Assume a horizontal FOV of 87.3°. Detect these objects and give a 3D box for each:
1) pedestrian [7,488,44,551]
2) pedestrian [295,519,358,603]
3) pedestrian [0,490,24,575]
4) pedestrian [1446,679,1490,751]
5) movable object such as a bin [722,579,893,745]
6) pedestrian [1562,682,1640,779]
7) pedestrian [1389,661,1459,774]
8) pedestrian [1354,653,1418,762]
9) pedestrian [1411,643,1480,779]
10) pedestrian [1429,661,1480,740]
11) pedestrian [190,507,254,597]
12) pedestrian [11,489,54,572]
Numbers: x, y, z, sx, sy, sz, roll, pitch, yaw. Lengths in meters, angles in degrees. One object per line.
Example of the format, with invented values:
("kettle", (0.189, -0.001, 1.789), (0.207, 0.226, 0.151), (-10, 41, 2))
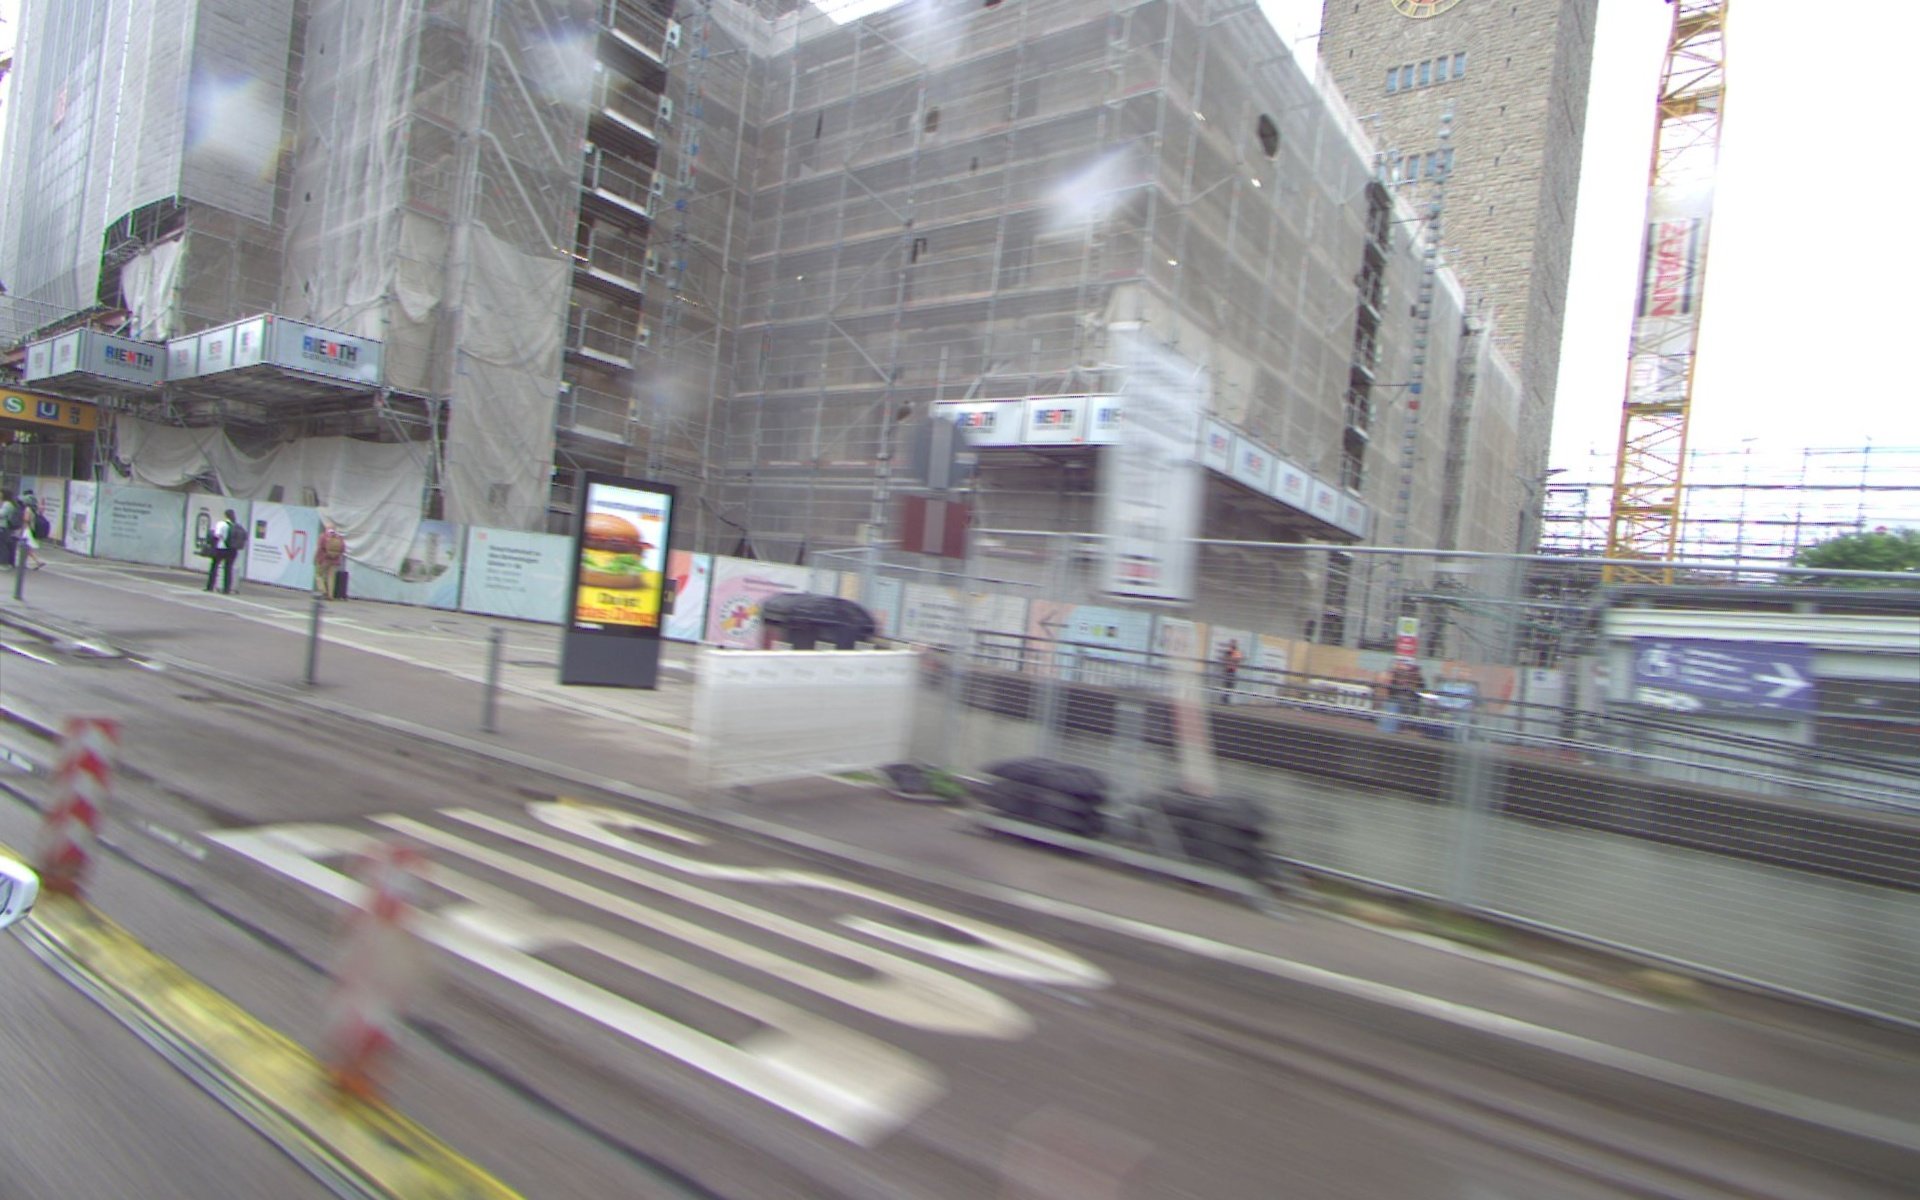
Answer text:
("pedestrian", (-26.265, -2.264, 28.261), (0.980, 1.654, 0.548), (8, 4, 37))
("pedestrian", (-14.032, -0.865, 22.276), (1.093, 1.703, 0.732), (8, 1, 39))
("pedestrian", (-19.314, -1.375, 20.253), (0.605, 1.673, 0.557), (8, 4, 38))
("pedestrian", (11.422, 2.572, 22.635), (0.632, 1.526, 0.700), (7, 1, 35))
("movable object such as a bin", (-1.663, 0.630, 10.714), (1.286, 1.510, 1.524), (6, 1, -25))
("pedestrian", (12.249, 2.475, 19.241), (0.690, 1.667, 0.913), (7, 1, -2))
("pedestrian", (9.047, 2.264, 19.602), (0.918, 2.039, 0.763), (7, 1, 34))
("pedestrian", (6.874, 1.729, 16.214), (0.697, 1.611, 0.856), (7, -1, 29))
("pedestrian", (7.814, 1.772, 16.178), (0.752, 2.037, 0.806), (7, -1, 29))
("pedestrian", (13.397, 2.723, 27.277), (0.698, 2.019, 0.847), (5, 2, -45))
("pedestrian", (-14.984, -0.978, 20.420), (0.942, 1.700, 0.735), (8, 4, 36))
("pedestrian", (-19.705, -1.481, 21.379), (0.606, 1.673, 0.563), (8, 4, 41))
